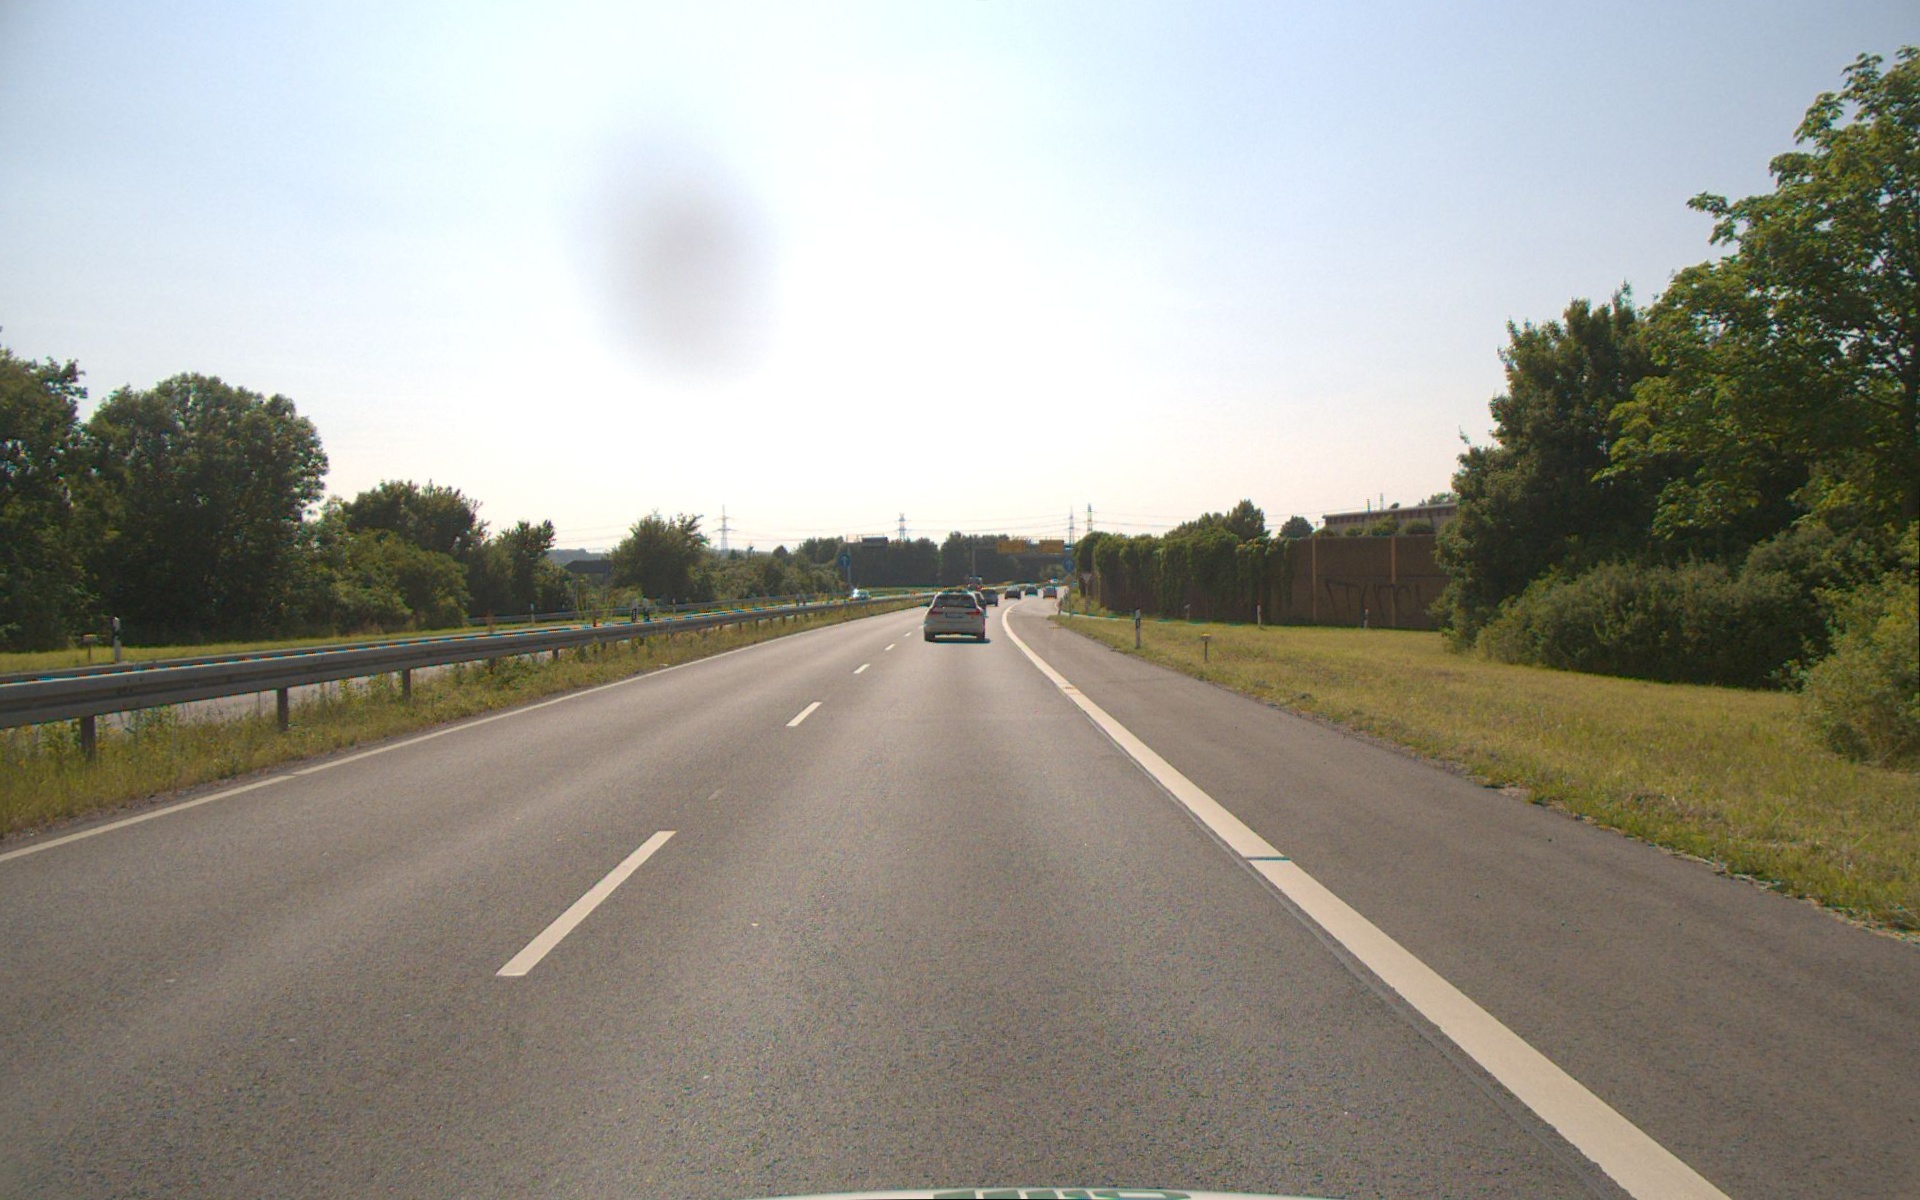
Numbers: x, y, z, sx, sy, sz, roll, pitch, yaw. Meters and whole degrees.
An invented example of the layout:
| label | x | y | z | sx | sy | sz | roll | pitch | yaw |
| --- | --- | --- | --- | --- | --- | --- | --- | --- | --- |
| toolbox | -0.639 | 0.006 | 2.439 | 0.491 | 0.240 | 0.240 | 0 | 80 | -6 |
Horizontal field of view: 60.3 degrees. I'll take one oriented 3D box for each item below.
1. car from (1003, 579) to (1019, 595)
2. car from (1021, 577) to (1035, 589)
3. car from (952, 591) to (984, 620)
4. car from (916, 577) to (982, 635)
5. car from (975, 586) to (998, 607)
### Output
| label | x | y | z | sx | sy | sz | roll | pitch | yaw |
| --- | --- | --- | --- | --- | --- | --- | --- | --- | --- |
| car | 6.049 | -1.568 | 196.536 | 1.803 | 1.834 | 4.002 | 0 | 0 | 3 |
| car | 9.825 | -2.486 | 238.642 | 1.802 | 1.728 | 4.003 | 0 | 0 | 5 |
| car | 0.491 | 0.298 | 95.646 | 1.756 | 1.570 | 3.672 | 0 | 1 | 2 |
| car | -0.328 | 0.151 | 50.762 | 1.918 | 1.629 | 4.107 | 1 | 1 | -1 |
| car | 2.283 | -0.320 | 140.579 | 1.731 | 1.767 | 3.634 | 0 | 0 | 5 |
